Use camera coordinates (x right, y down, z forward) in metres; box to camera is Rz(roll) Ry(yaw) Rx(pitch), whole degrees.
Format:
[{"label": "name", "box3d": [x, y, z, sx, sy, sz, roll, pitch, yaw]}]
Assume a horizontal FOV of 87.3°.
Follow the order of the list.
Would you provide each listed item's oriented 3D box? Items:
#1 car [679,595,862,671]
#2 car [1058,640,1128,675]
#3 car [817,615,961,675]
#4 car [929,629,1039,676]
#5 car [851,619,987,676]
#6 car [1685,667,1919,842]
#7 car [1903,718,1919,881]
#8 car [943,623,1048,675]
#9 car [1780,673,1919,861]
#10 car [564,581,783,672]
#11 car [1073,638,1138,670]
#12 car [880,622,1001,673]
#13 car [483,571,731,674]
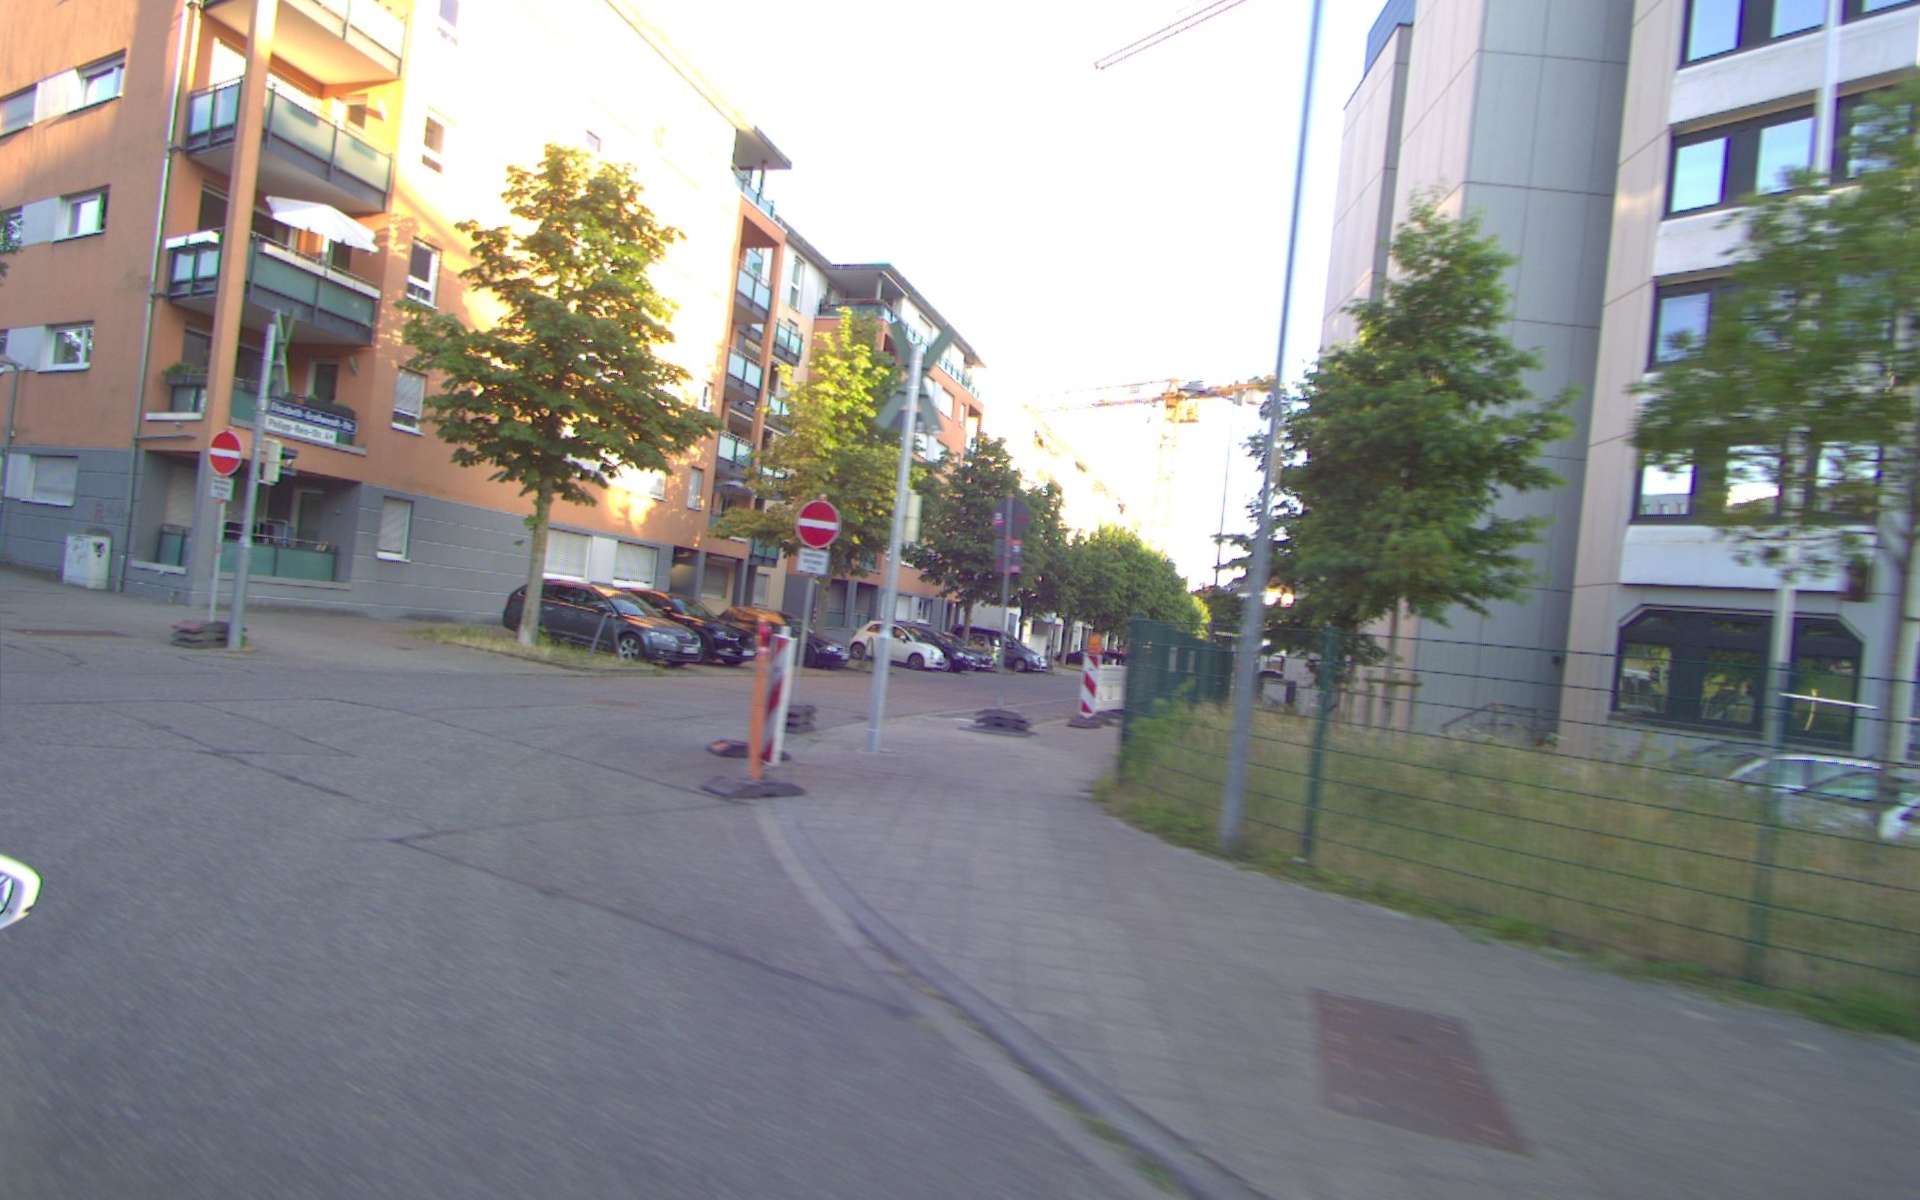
[{"label": "car", "box3d": [-5.478, 0.949, 29.171, 4.725, 1.614, 2.000, 6, -1, 20]}, {"label": "car", "box3d": [9.946, 4.309, 75.382, 4.725, 2.008, 2.000, 6, -1, 20]}, {"label": "car", "box3d": [-2.591, 1.654, 36.931, 4.724, 1.614, 2.001, 6, -1, 17]}, {"label": "car", "box3d": [1.144, 2.486, 47.883, 4.724, 1.614, 2.001, 6, -1, 17]}, {"label": "car", "box3d": [-1.565, 1.814, 38.932, 4.724, 1.614, 2.001, 6, -1, 17]}, {"label": "car", "box3d": [12.972, 2.231, 14.268, 3.931, 2.037, 1.998, 6, -1, 28]}, {"label": "car", "box3d": [11.689, 2.079, 9.184, 3.931, 2.037, 1.998, 6, -1, 28]}, {"label": "car", "box3d": [1.779, 2.447, 50.206, 4.724, 2.008, 2.001, 6, -1, 17]}, {"label": "car", "box3d": [12.462, 2.137, 11.782, 3.931, 2.037, 1.998, 6, -1, 28]}, {"label": "car", "box3d": [-6.939, 0.655, 24.408, 4.725, 1.613, 2.001, 6, -1, 20]}, {"label": "car", "box3d": [11.678, 4.326, 80.642, 4.725, 2.008, 2.000, 6, -1, 20]}, {"label": "car", "box3d": [-0.823, 2.054, 43.523, 4.724, 1.614, 2.001, 6, -1, 17]}, {"label": "car", "box3d": [-7.593, 0.487, 21.685, 4.725, 1.613, 2.001, 6, -2, 20]}]
